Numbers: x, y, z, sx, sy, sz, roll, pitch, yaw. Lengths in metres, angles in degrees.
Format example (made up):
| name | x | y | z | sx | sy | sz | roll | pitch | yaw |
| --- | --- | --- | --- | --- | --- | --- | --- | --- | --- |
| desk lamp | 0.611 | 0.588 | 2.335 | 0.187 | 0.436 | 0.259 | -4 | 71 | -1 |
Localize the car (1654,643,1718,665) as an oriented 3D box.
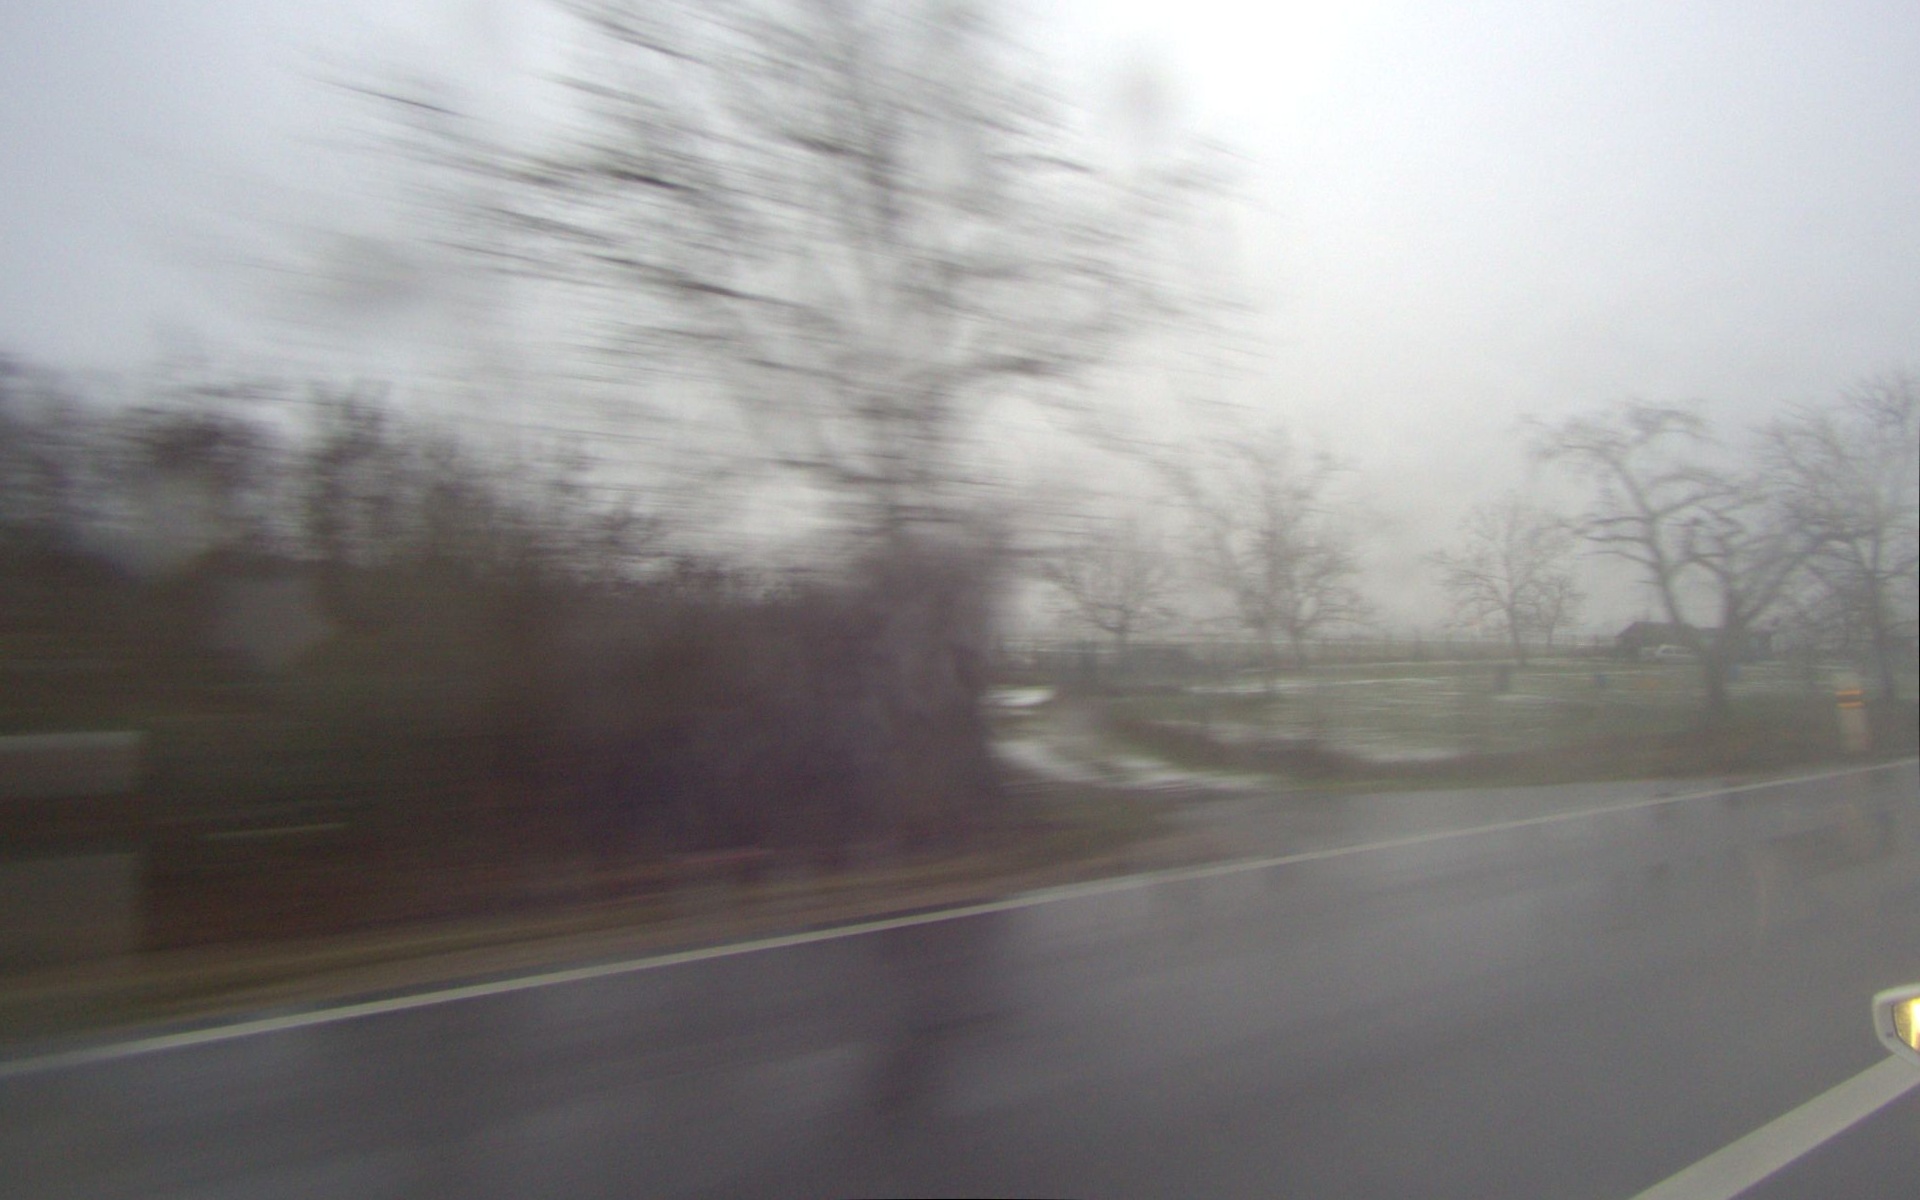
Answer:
| name | x | y | z | sx | sy | sz | roll | pitch | yaw |
| --- | --- | --- | --- | --- | --- | --- | --- | --- | --- |
| car | 50.754 | 3.772 | 70.232 | 1.588 | 1.360 | 3.407 | 2 | 0 | -44 |
